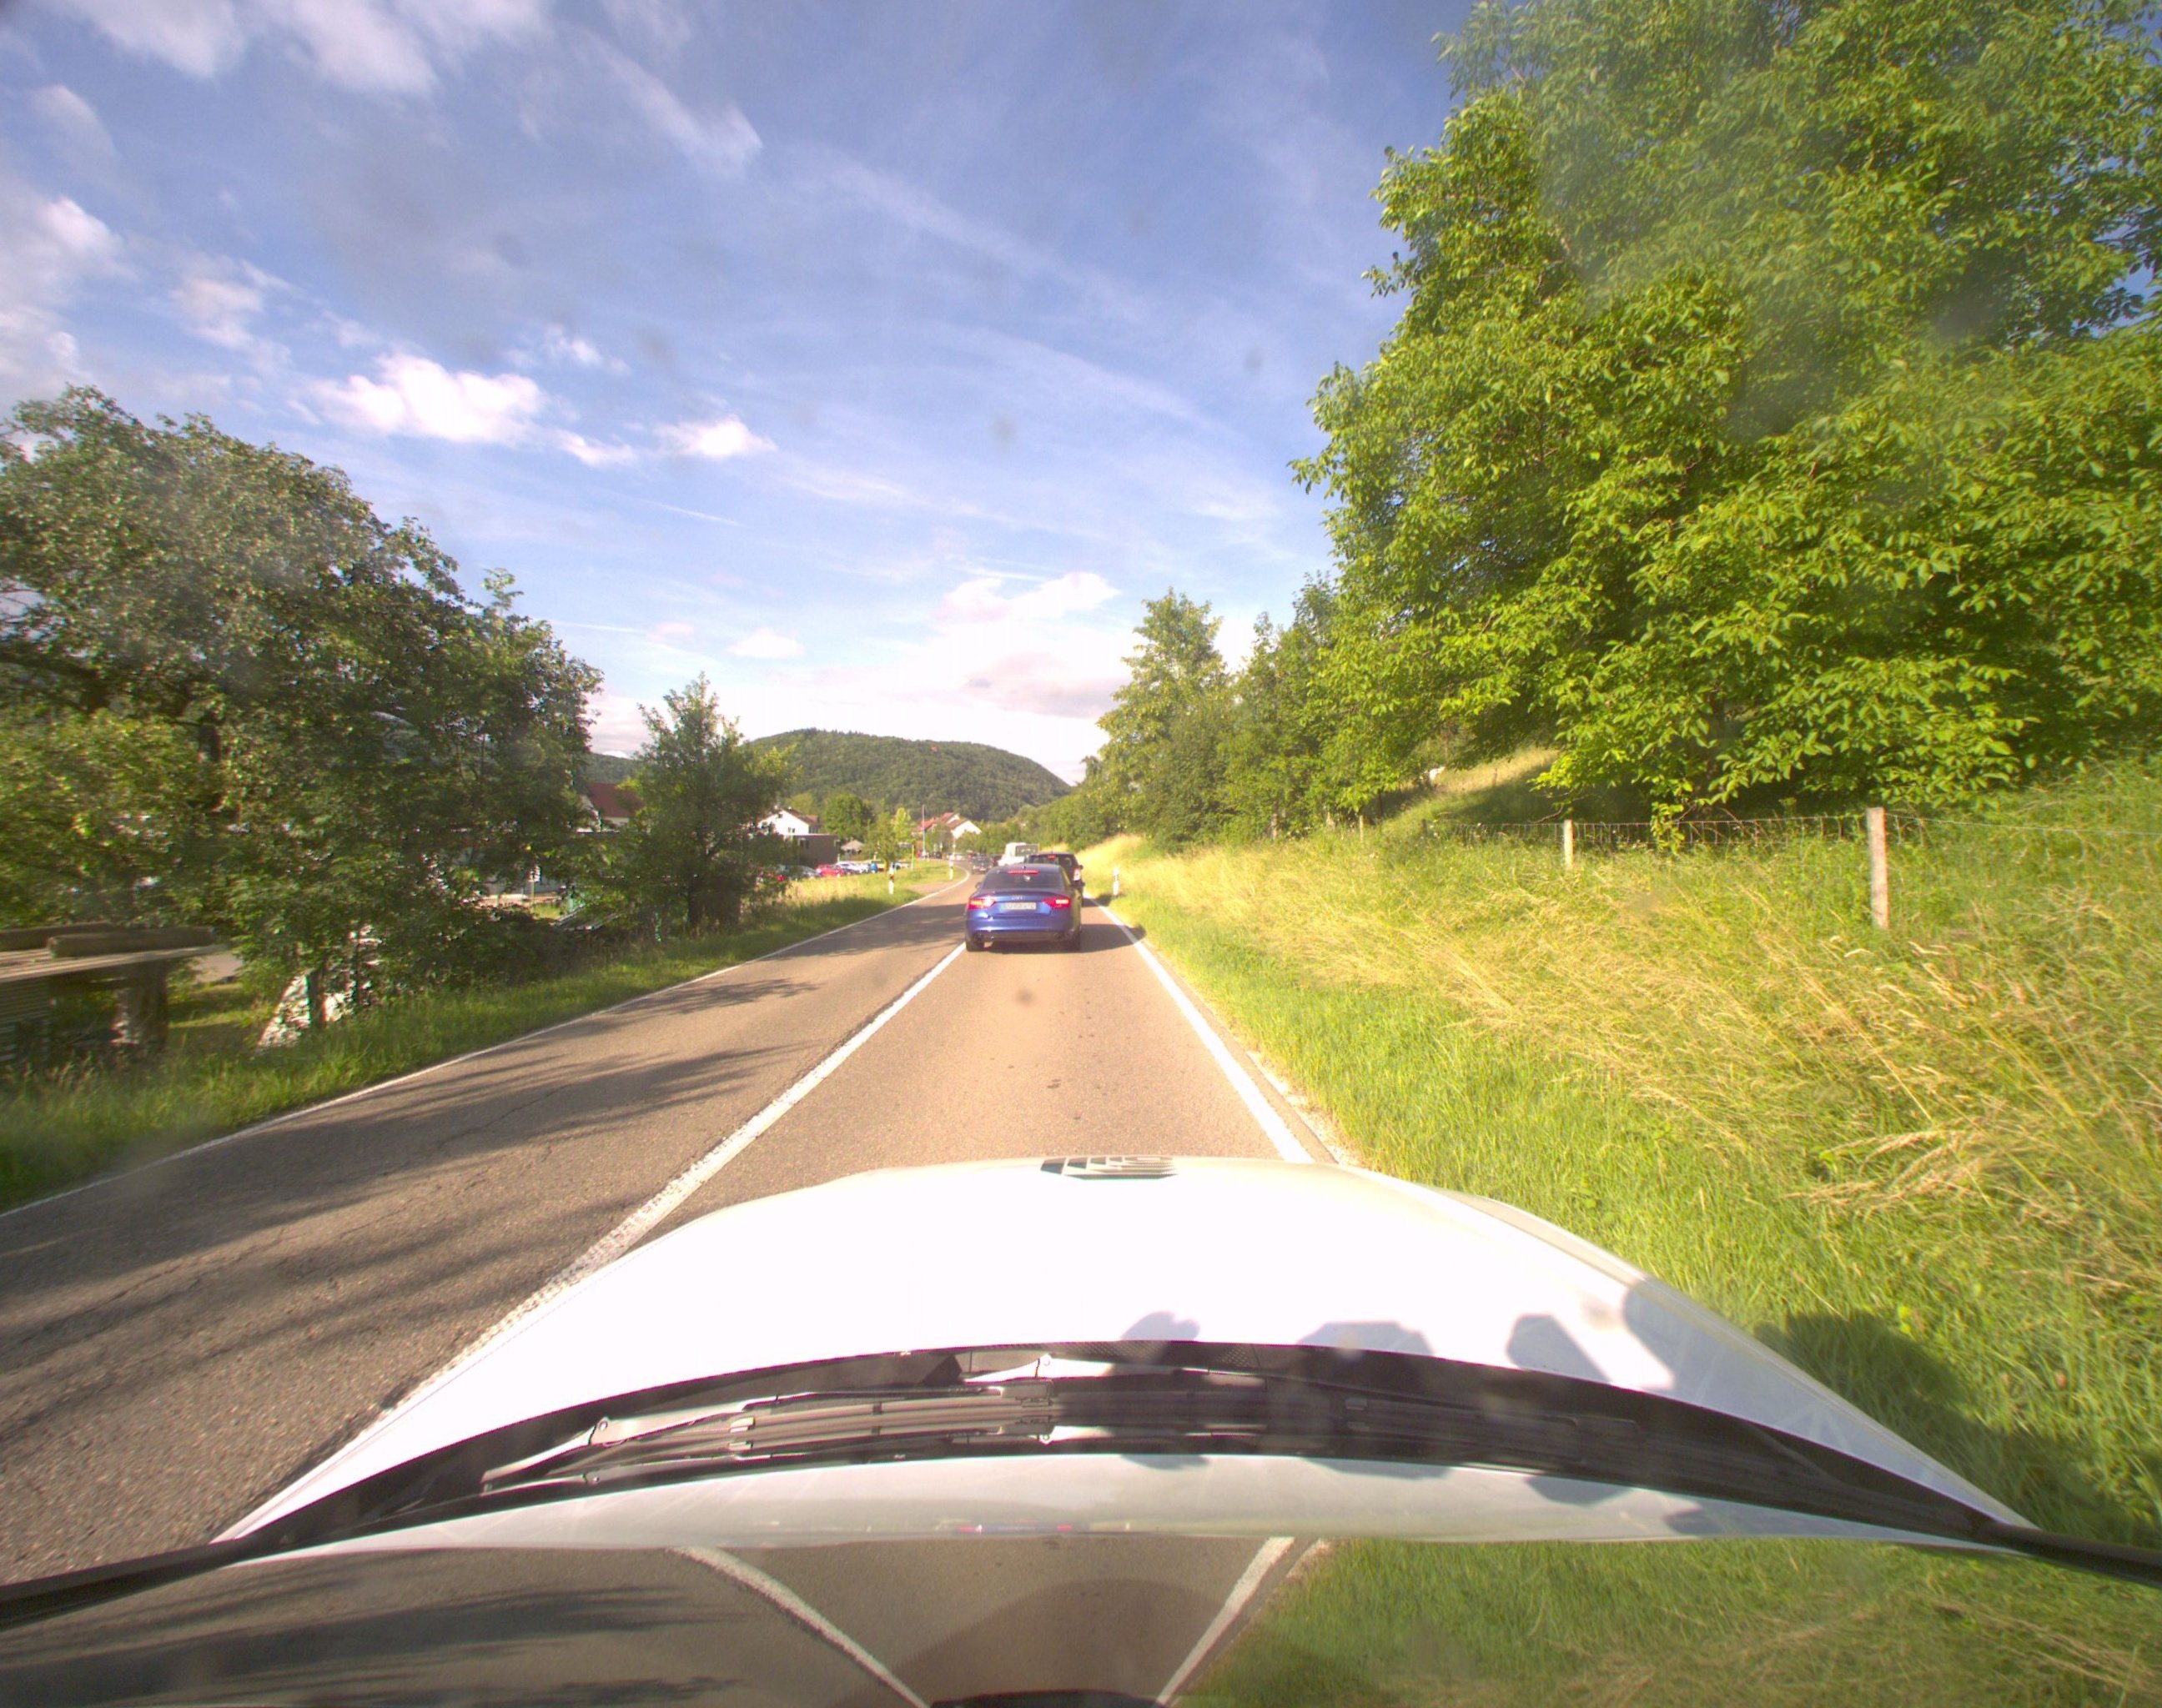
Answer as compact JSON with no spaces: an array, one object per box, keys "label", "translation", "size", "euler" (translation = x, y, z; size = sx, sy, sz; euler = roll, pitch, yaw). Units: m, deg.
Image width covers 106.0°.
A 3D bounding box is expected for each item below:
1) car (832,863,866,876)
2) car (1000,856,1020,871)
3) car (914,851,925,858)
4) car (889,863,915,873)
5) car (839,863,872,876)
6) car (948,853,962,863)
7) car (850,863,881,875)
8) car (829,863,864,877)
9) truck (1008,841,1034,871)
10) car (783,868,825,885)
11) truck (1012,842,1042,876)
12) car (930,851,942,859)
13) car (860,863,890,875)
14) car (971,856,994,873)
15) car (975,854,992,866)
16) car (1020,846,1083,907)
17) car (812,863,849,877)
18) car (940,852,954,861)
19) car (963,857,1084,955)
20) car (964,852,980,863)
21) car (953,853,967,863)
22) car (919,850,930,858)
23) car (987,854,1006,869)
[{"label":"car","translation":[-30.736,2.043,108.135],"size":[3.981,1.711,1.996],"euler":[0,-1,-6]},{"label":"car","translation":[-7.370,0.971,84.029],"size":[1.845,1.482,3.988],"euler":[0,-1,-9]},{"label":"car","translation":[-38.323,0.109,192.824],"size":[1.852,1.712,3.972],"euler":[0,-1,-21]},{"label":"car","translation":[-29.530,2.246,134.361],"size":[3.981,1.579,1.749],"euler":[0,-1,-6]},{"label":"car","translation":[-30.793,2.070,111.417],"size":[3.981,1.711,1.996],"euler":[0,-1,-6]},{"label":"car","translation":[-22.907,0.724,148.053],"size":[1.852,1.712,3.972],"euler":[0,-1,-21]},{"label":"car","translation":[-31.013,2.118,117.195],"size":[3.981,1.711,1.996],"euler":[0,-1,-6]},{"label":"car","translation":[-30.083,2.008,104.514],"size":[3.981,1.711,1.996],"euler":[0,-1,-6]},{"label":"truck","translation":[-5.348,0.208,72.308],"size":[2.226,2.570,6.696],"euler":[0,-1,-4]},{"label":"car","translation":[-30.292,2.436,89.178],"size":[3.981,1.711,1.996],"euler":[0,-1,-6]},{"label":"truck","translation":[-4.232,0.401,64.396],"size":[2.225,2.570,6.096],"euler":[0,-1,-3]},{"label":"car","translation":[-30.627,0.259,171.926],"size":[1.852,1.712,3.972],"euler":[0,-1,-21]},{"label":"car","translation":[-30.323,2.136,120.033],"size":[3.981,1.711,1.996],"euler":[0,-1,-6]},{"label":"car","translation":[-8.051,0.837,66.874],"size":[1.590,1.354,4.199],"euler":[0,0,-2]},{"label":"car","translation":[-14.414,0.932,120.089],"size":[1.849,1.712,3.978],"euler":[0,-1,-16]},{"label":"car","translation":[-0.886,0.646,24.582],"size":[1.750,1.681,3.843],"euler":[0,-1,-2]},{"label":"car","translation":[-30.762,1.976,99.897],"size":[3.981,1.711,1.996],"euler":[0,-1,-6]},{"label":"car","translation":[-26.220,0.538,159.075],"size":[1.852,1.712,3.972],"euler":[0,-1,-21]},{"label":"car","translation":[-0.843,0.782,13.915],"size":[1.748,1.430,3.846],"euler":[0,-1,0]},{"label":"car","translation":[-17.461,0.641,130.392],"size":[1.850,1.712,3.977],"euler":[0,-1,-16]},{"label":"car","translation":[-20.869,0.704,140.619],"size":[1.851,1.712,3.975],"euler":[0,-1,-18]},{"label":"car","translation":[-35.507,0.084,184.887],"size":[1.852,1.712,3.972],"euler":[0,-1,-21]},{"label":"car","translation":[-9.653,0.877,92.559],"size":[1.846,1.712,3.985],"euler":[0,-1,-11]}]
